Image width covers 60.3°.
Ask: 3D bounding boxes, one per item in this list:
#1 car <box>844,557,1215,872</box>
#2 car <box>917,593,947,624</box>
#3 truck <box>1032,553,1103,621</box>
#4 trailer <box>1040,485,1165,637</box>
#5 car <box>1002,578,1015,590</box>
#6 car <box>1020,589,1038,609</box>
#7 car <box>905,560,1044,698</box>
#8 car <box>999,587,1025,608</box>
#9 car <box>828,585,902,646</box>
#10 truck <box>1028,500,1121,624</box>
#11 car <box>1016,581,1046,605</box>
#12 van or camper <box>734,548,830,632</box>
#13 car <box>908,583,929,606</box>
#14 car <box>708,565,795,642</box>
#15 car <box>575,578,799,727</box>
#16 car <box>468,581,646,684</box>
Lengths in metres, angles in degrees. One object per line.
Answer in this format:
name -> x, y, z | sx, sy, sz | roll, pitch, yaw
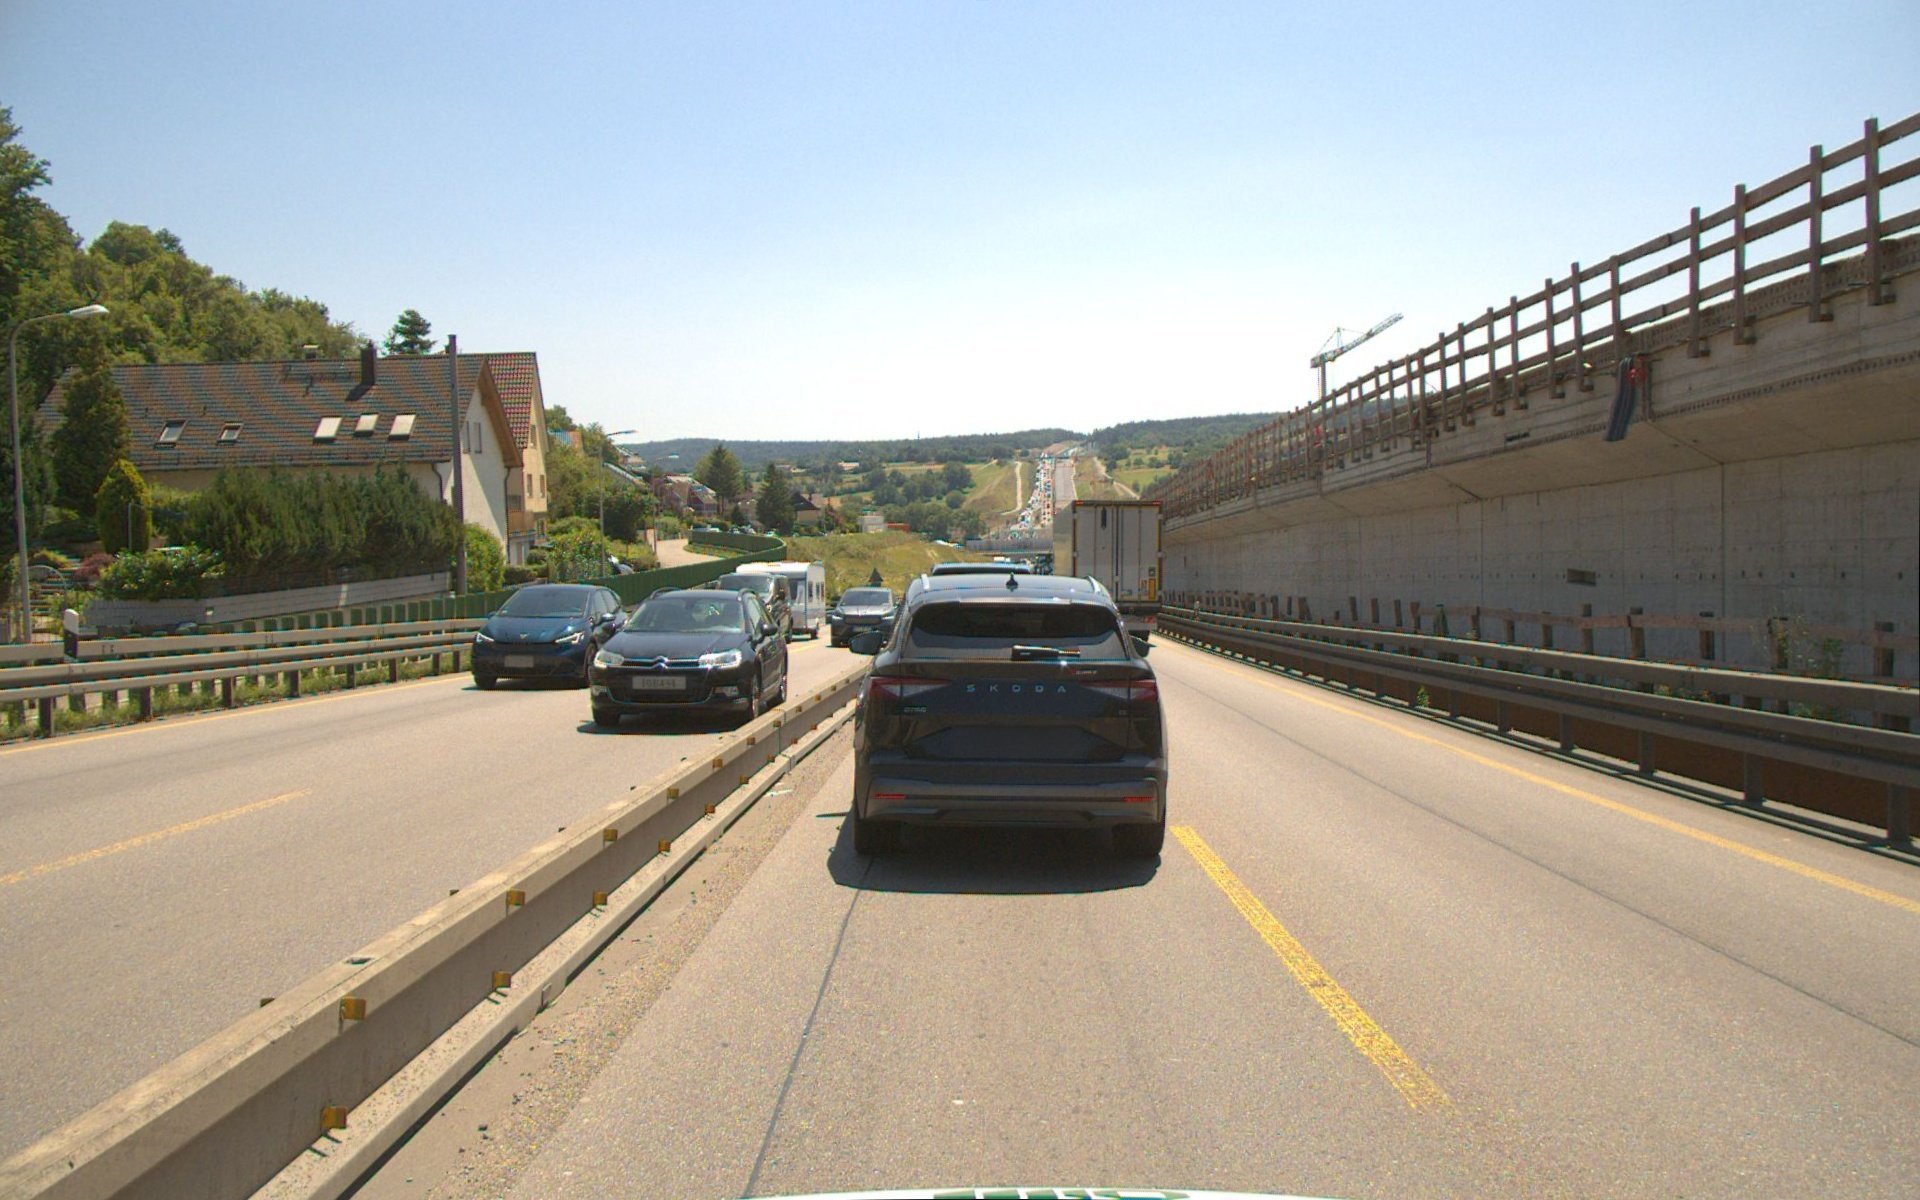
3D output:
car -> 0.238, 0.628, 10.513 | 1.807, 1.614, 3.902 | 1, -1, -6
car -> -1.469, 0.465, 88.783 | 1.515, 1.576, 3.237 | 1, -1, 0
truck -> 5.436, -0.537, 86.016 | 3.129, 3.247, 12.809 | 0, -1, 1
trailer -> 4.267, -0.996, 51.853 | 2.481, 4.199, 11.542 | 1, -1, -2
car -> 7.279, -2.356, 246.377 | 1.806, 1.613, 3.836 | 1, -1, 0
car -> 6.359, -0.089, 152.984 | 1.665, 1.758, 3.837 | 1, -1, 2
car -> 0.138, 0.391, 25.232 | 1.674, 1.914, 3.995 | 1, 1, -6
car -> 4.310, -0.180, 138.104 | 1.953, 1.613, 3.835 | 1, -1, -1
car -> -2.644, 0.450, 46.874 | 1.834, 1.614, 4.479 | 1, -1, 0
truck -> 3.997, -1.199, 59.359 | 2.462, 4.096, 8.234 | 1, -1, -2
car -> 5.202, -0.495, 121.569 | 1.953, 1.613, 3.835 | 1, -1, -1
van or camper -> -5.718, -0.251, 53.934 | 2.305, 2.560, 6.328 | 1, -1, 1
car -> -3.398, -0.442, 133.879 | 1.666, 1.758, 3.834 | 1, -1, -2
car -> -5.835, 0.135, 46.744 | 1.953, 2.049, 3.999 | 1, -1, 0
car -> -3.086, 0.590, 19.672 | 1.953, 1.530, 4.647 | 1, -1, -1
car -> -6.322, 0.516, 26.429 | 1.805, 1.485, 4.177 | 1, -1, 0
